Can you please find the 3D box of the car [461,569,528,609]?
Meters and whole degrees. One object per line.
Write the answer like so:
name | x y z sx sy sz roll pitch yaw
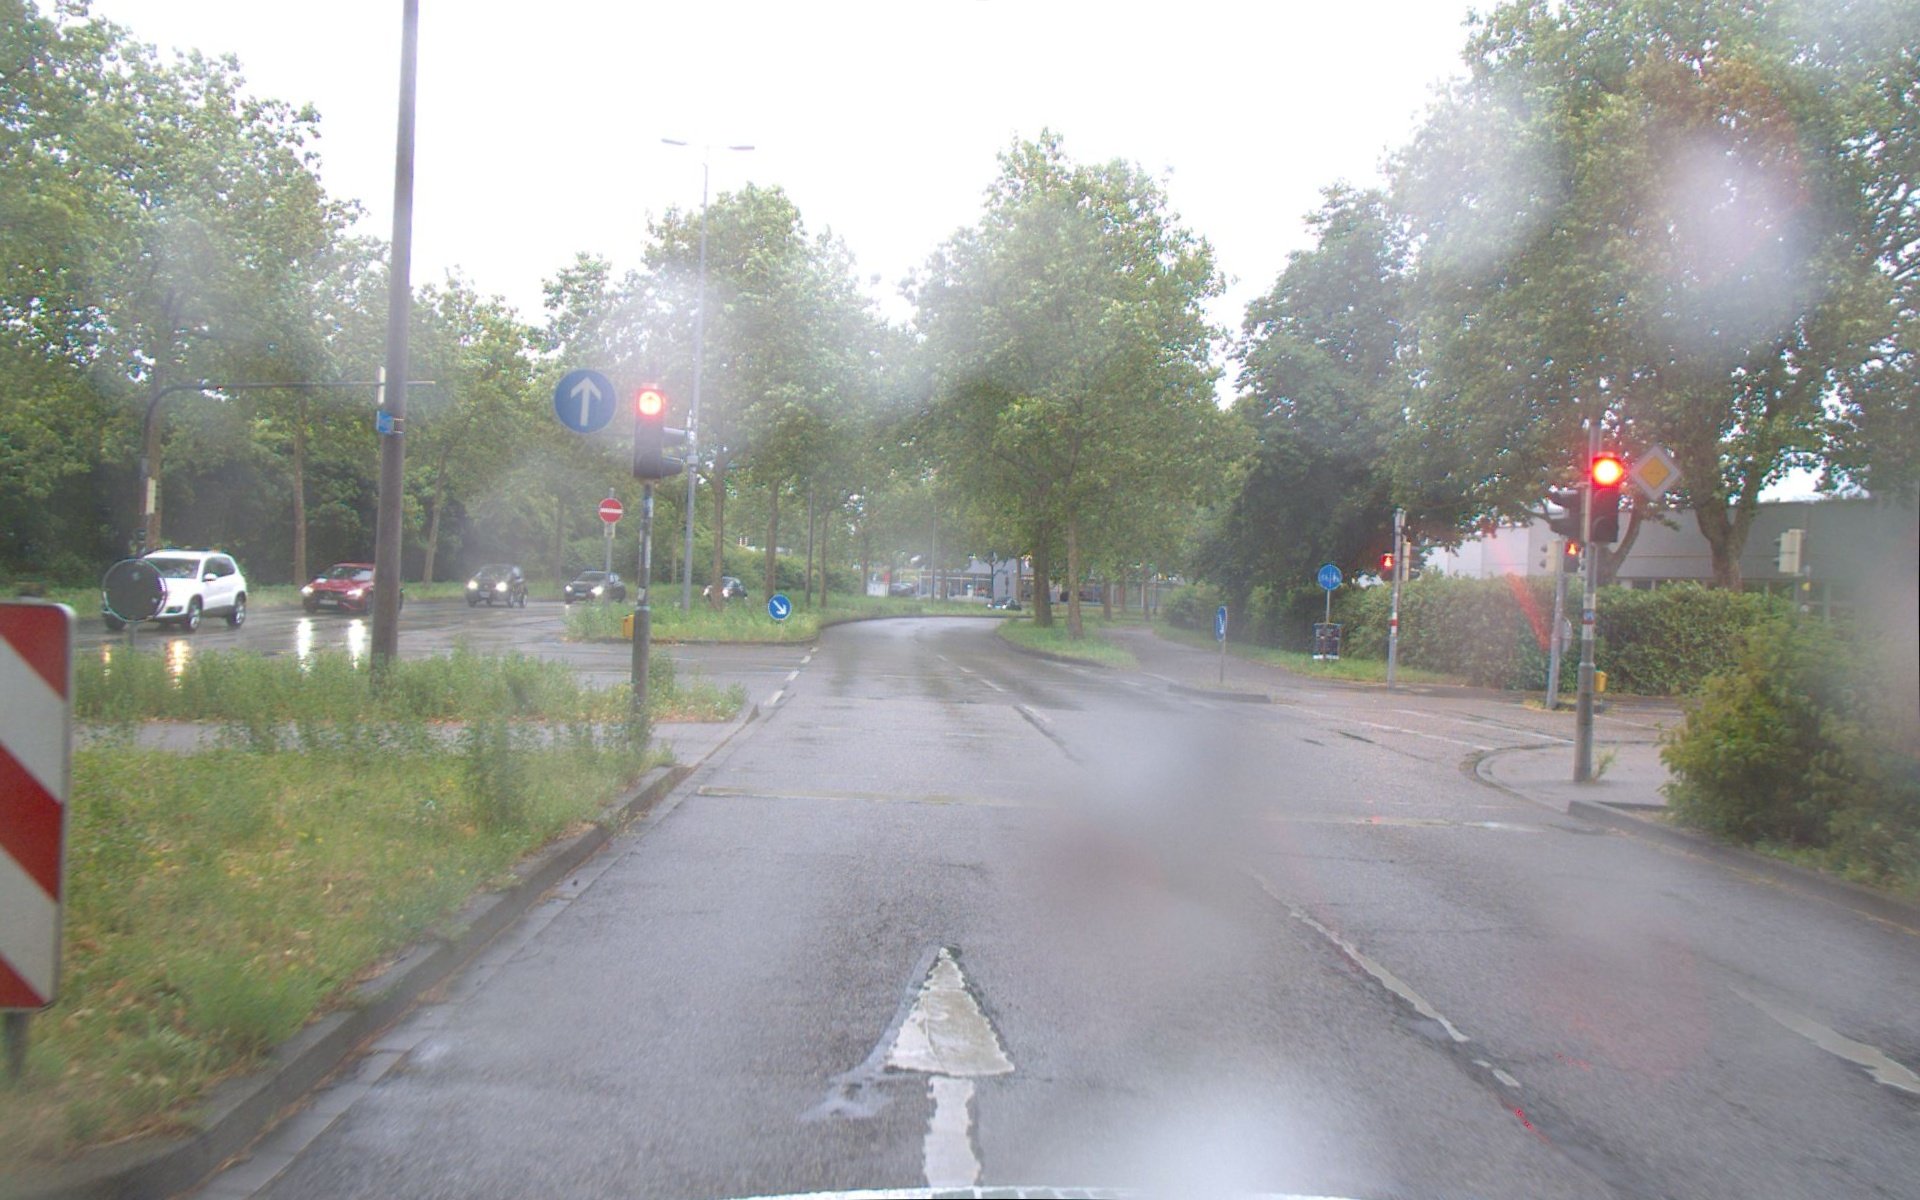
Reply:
car | -17.649 -0.417 62.819 1.555 1.396 3.333 2 0 -1

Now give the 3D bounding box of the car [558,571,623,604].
car | -16.440 -0.551 73.804 1.554 1.396 4.265 2 0 5

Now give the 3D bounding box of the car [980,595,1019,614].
car | 3.300 0.348 137.824 1.961 1.477 4.994 2 0 16

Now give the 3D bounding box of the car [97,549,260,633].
car | -17.036 -0.198 36.305 1.709 1.660 4.440 2 0 -4

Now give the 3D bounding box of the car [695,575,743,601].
car | -13.551 -0.647 93.212 1.553 1.396 4.265 2 0 7

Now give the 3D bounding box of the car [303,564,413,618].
car | -17.483 -0.259 48.262 1.708 1.432 4.442 2 0 -3

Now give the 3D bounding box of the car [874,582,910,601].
car | -8.036 -0.958 194.593 3.916 2.049 1.995 3 -1 -11
